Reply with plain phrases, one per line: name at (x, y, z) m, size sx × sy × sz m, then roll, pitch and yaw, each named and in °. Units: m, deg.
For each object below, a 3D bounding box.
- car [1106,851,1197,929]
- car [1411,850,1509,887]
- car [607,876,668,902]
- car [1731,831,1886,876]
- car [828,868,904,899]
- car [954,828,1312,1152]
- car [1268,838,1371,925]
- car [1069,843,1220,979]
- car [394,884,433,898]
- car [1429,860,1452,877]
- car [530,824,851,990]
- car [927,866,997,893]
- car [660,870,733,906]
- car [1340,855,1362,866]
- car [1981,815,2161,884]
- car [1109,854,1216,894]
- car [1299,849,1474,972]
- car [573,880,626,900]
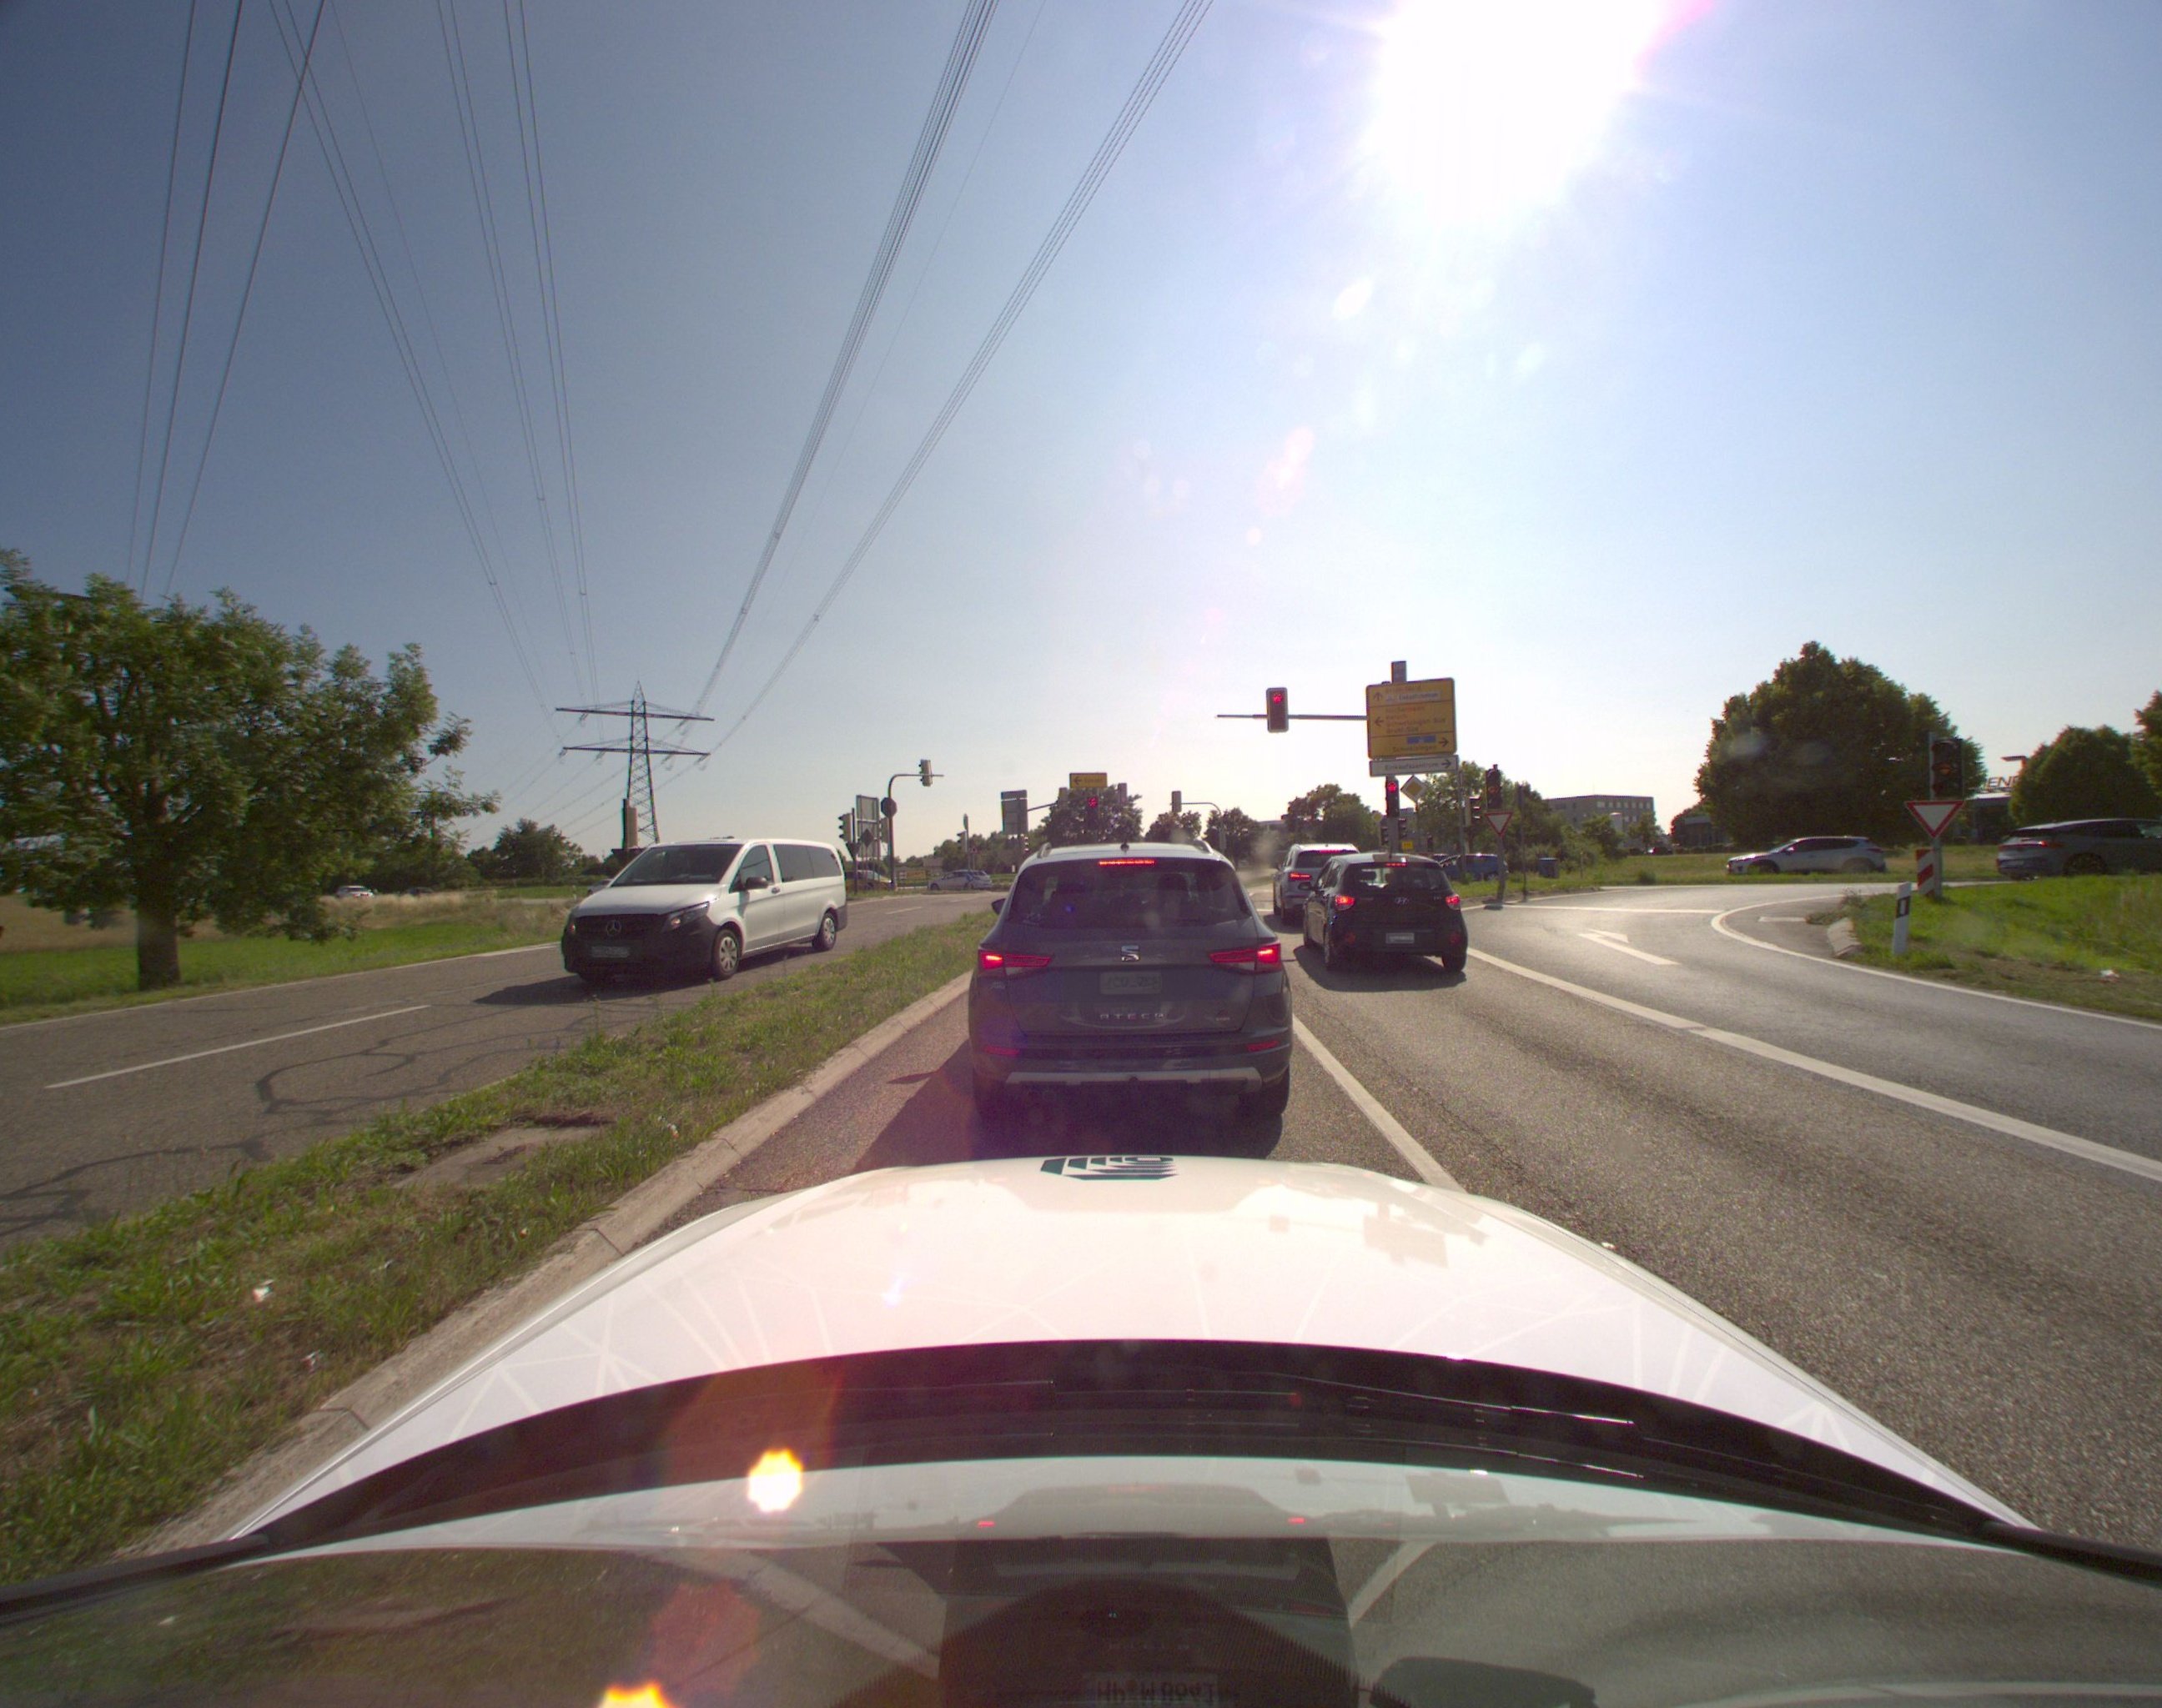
car at (1.571, 0.701, 17.345) m, size 1.732 × 1.484 × 3.631 m, roll 0°, pitch -1°, yaw 7°
car at (16.929, 0.636, 36.440) m, size 3.832 × 1.519 × 1.818 m, roll -2°, pitch -1°, yaw 25°
car at (-30.789, 2.417, 56.518) m, size 3.949 × 1.651 × 1.831 m, roll -2°, pitch -1°, yaw 29°
car at (27.319, -0.013, 30.769) m, size 3.986 × 1.519 × 1.818 m, roll -2°, pitch -1°, yaw 27°
car at (-12.123, 1.674, 45.973) m, size 3.949 × 1.651 × 1.831 m, roll -2°, pitch -1°, yaw 29°
car at (0.306, 0.679, 5.780) m, size 1.735 × 1.569 × 3.625 m, roll 0°, pitch -1°, yaw 2°
car at (5.014, 0.546, 17.560) m, size 1.623 × 1.677 × 3.758 m, roll -1°, pitch 0°, yaw 9°
car at (0.820, 0.677, 11.238) m, size 1.735 × 1.569 × 3.626 m, roll 0°, pitch -1°, yaw 3°
car at (-69.667, 3.837, 84.936) m, size 4.051 × 1.416 × 1.727 m, roll -2°, pitch -1°, yaw 28°
car at (35.841, 1.421, 81.071) m, size 1.859 × 1.673 × 3.792 m, roll 0°, pitch -1°, yaw 27°
car at (-5.261, 0.609, 11.962) m, size 1.984 × 1.918 × 4.954 m, roll -1°, pitch 0°, yaw 5°
car at (-7.292, 1.574, 49.792) m, size 3.831 × 1.519 × 1.818 m, roll -2°, pitch -1°, yaw 27°
car at (-19.027, 1.669, 40.234) m, size 3.949 × 1.651 × 1.831 m, roll -2°, pitch -1°, yaw 42°
car at (37.413, 0.863, 112.829) m, size 1.695 × 1.549 × 3.633 m, roll -1°, pitch -1°, yaw 40°
car at (25.389, -0.146, 19.985) m, size 4.054 × 1.517 × 1.786 m, roll -3°, pitch -1°, yaw 16°
car at (3.283, 0.788, 32.827) m, size 3.913 × 1.465 × 1.711 m, roll -1°, pitch -1°, yaw -20°
car at (4.063, 0.674, 11.338) m, size 1.623 × 1.448 × 3.303 m, roll -1°, pitch 0°, yaw 9°
car at (-40.344, 3.022, 68.268) m, size 4.281 × 1.519 × 1.818 m, roll -2°, pitch -1°, yaw 27°
